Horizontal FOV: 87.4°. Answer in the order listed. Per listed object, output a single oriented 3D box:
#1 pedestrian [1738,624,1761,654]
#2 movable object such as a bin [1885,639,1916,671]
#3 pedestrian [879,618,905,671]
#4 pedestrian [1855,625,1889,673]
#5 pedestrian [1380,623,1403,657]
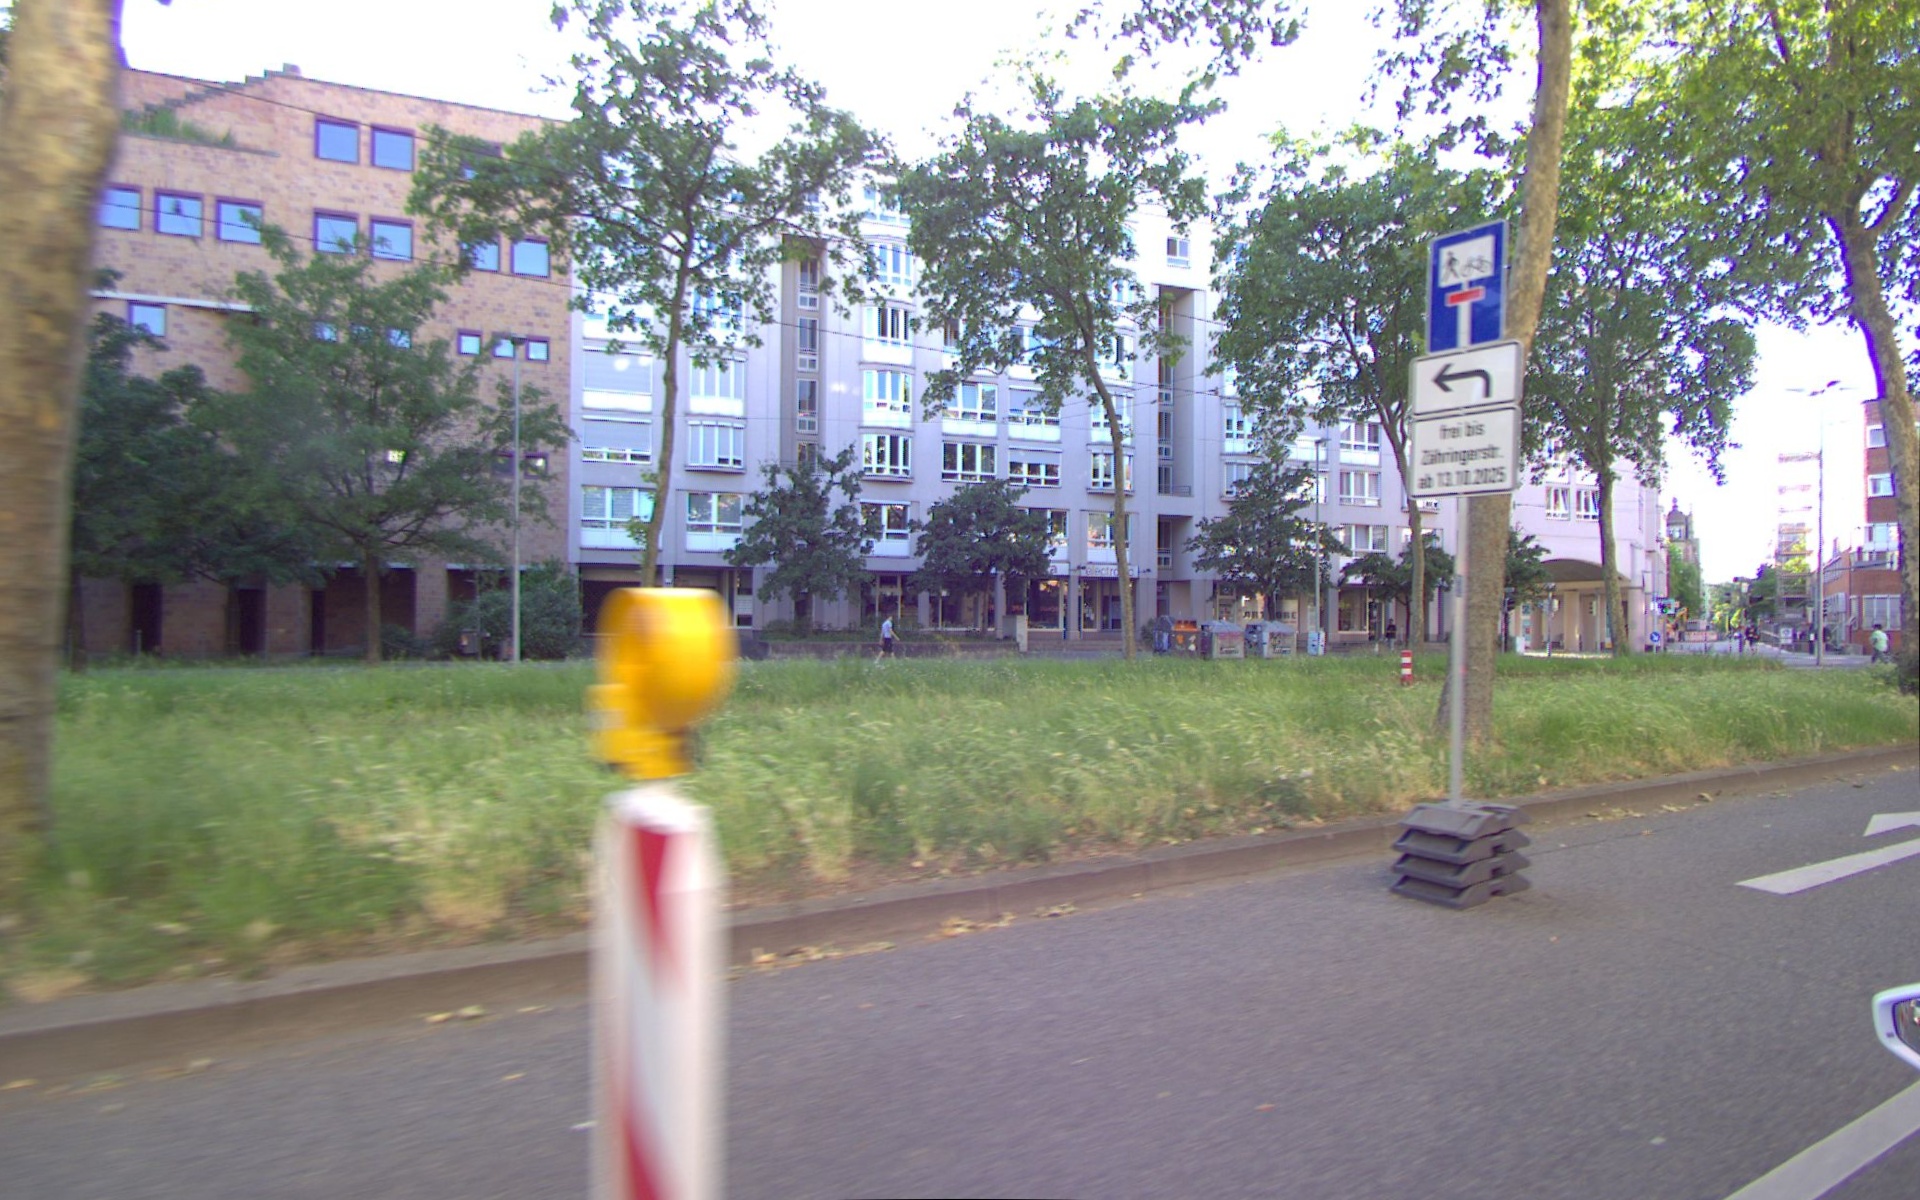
[{"bbox_3d":[49.518,2.440,63.029,0.741,1.894,0.854,1,-1,-21],"label":"pedestrian"},{"bbox_3d":[29.569,1.722,31.570,0.530,0.966,0.510,1,-1,-16],"label":"movable object such as a bin"},{"bbox_3d":[-2.300,1.502,33.876,0.639,1.763,0.726,1,-1,-26],"label":"pedestrian"},{"bbox_3d":[29.074,1.546,32.032,0.526,1.523,0.618,1,-1,-17],"label":"pedestrian"},{"bbox_3d":[20.816,1.928,48.489,0.776,1.660,0.706,1,-1,-18],"label":"pedestrian"}]
